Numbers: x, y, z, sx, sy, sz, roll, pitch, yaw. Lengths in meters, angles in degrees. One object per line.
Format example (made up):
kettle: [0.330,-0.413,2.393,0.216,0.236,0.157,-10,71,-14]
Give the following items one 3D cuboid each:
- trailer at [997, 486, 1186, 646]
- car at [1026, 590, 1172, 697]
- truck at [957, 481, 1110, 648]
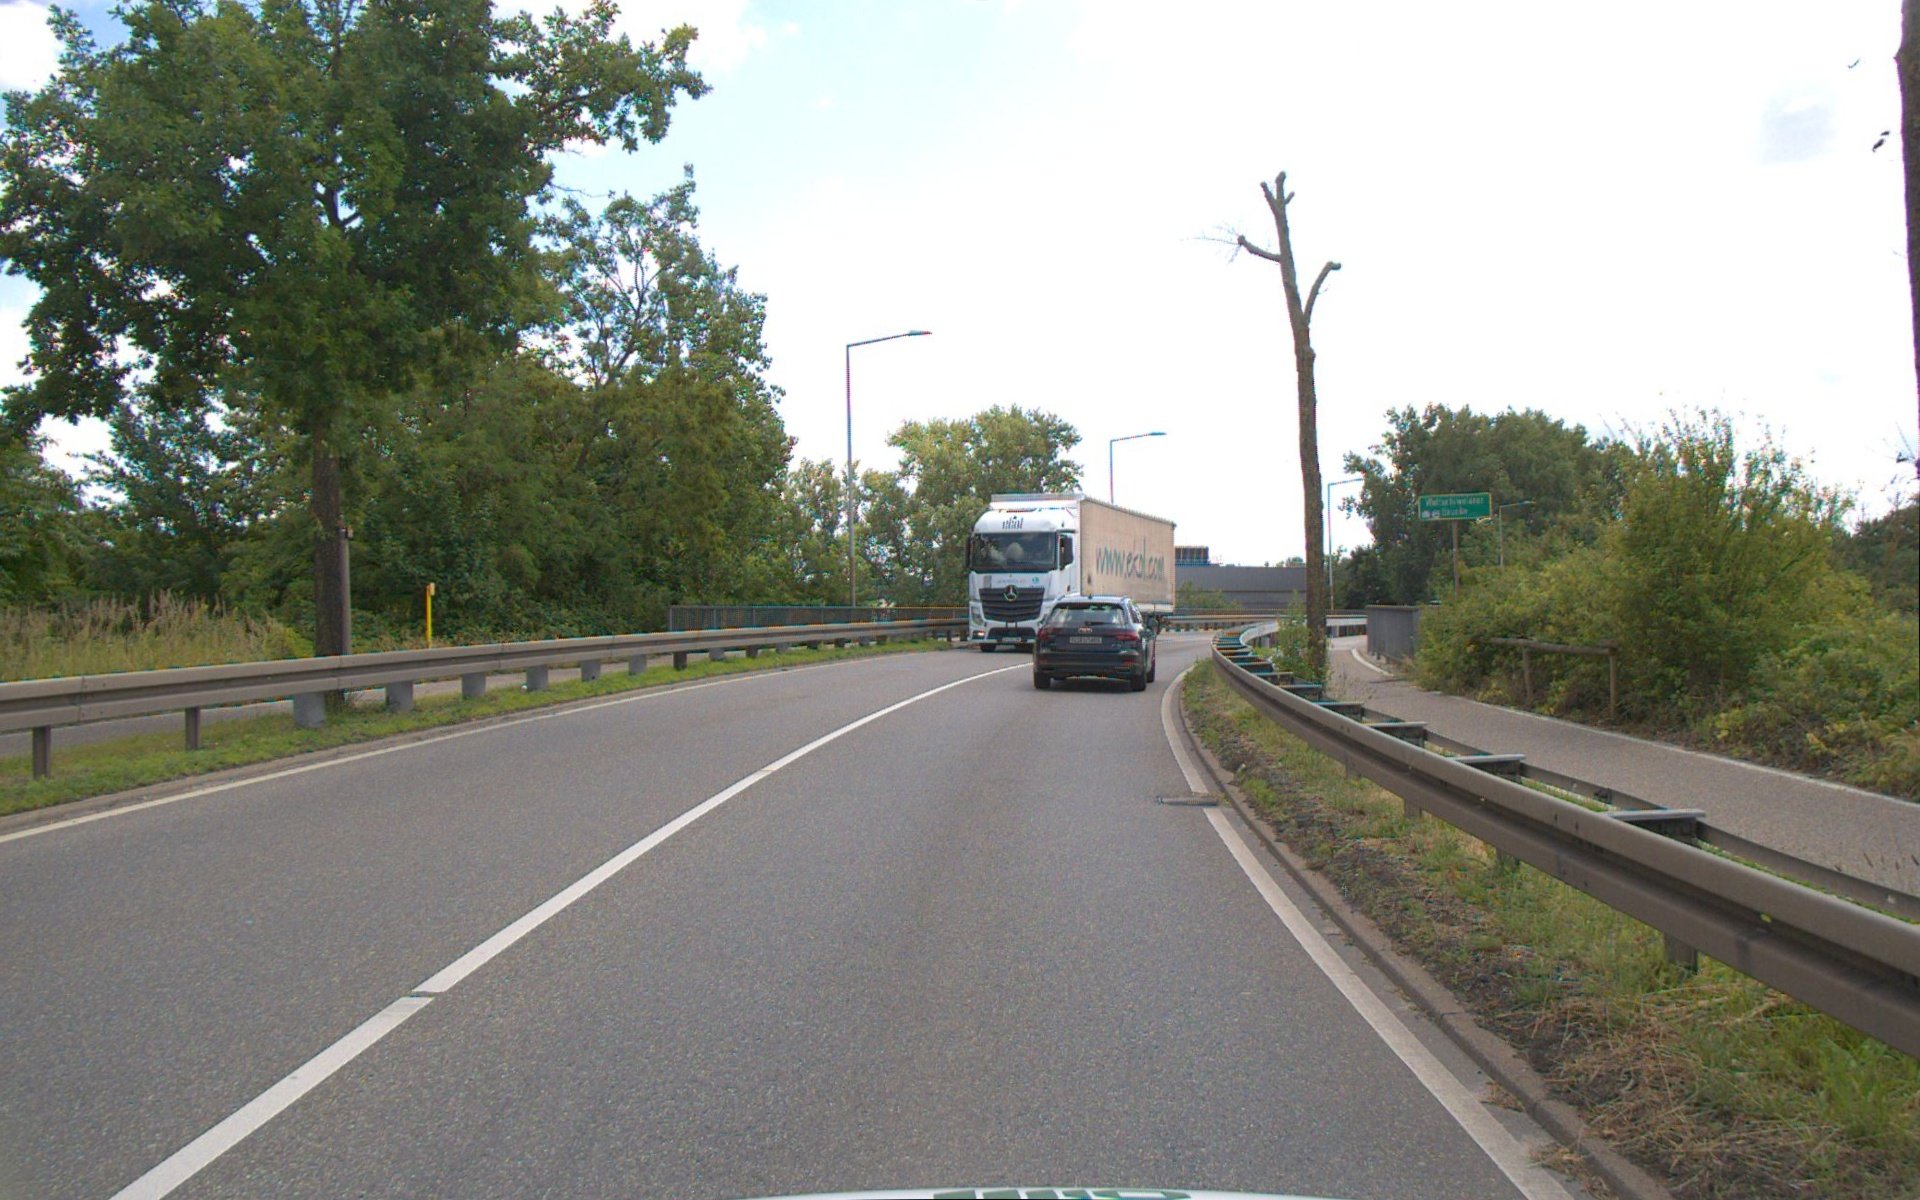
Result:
trailer: [4.525,-0.915,52.335,2.650,4.355,14.237,0,0,18]
car: [2.336,0.637,26.846,1.789,1.517,4.210,2,1,12]
truck: [2.096,-0.908,45.012,2.703,4.207,5.655,1,0,18]
